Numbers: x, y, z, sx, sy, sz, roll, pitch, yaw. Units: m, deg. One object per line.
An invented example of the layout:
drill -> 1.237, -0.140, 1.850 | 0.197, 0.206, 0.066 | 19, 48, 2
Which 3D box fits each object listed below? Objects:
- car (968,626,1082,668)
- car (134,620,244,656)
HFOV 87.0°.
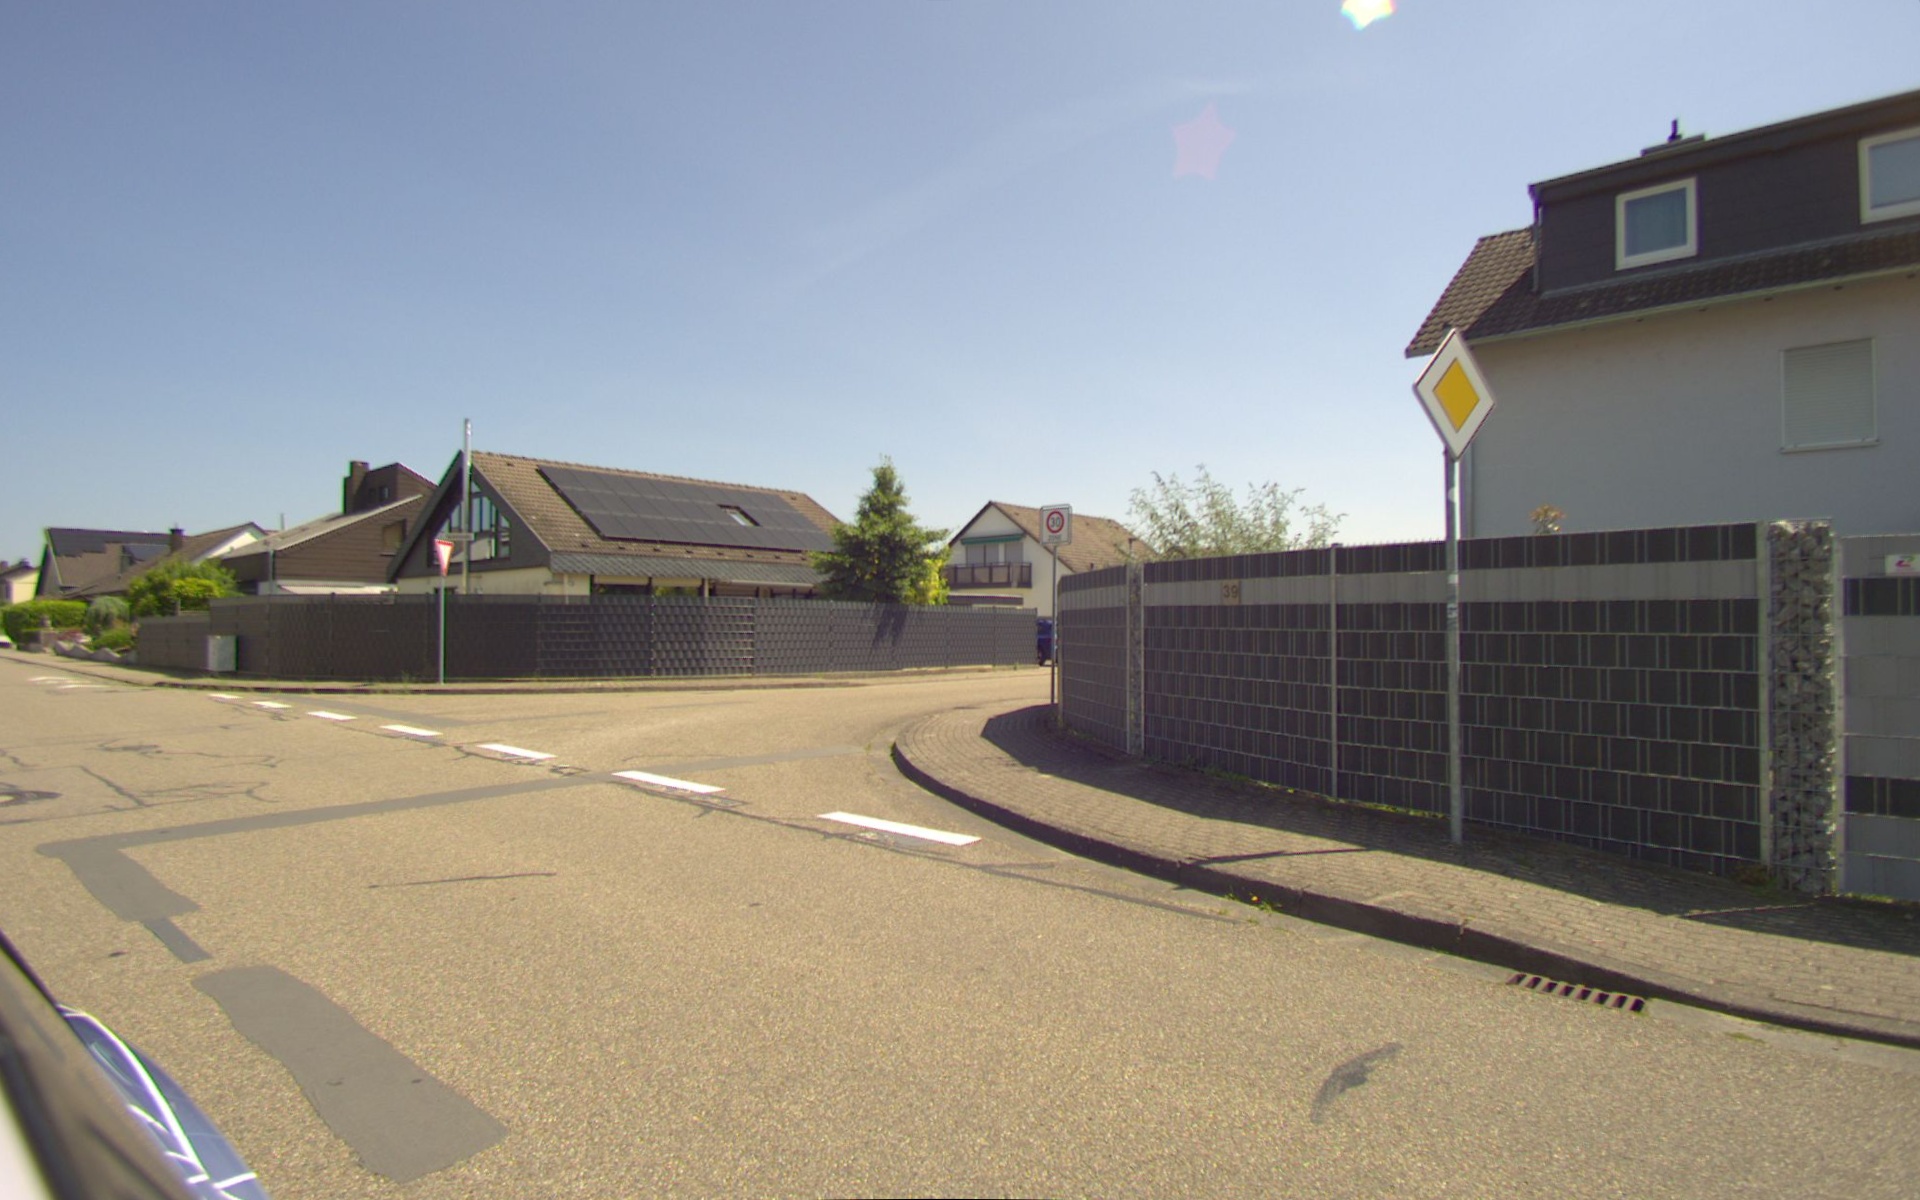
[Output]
car -> 2.346, 1.683, 37.155 | 3.867, 1.457, 1.738 | -1, -2, 35
car -> -37.654, 1.849, 49.492 | 1.901, 1.697, 3.947 | -1, -2, 39
